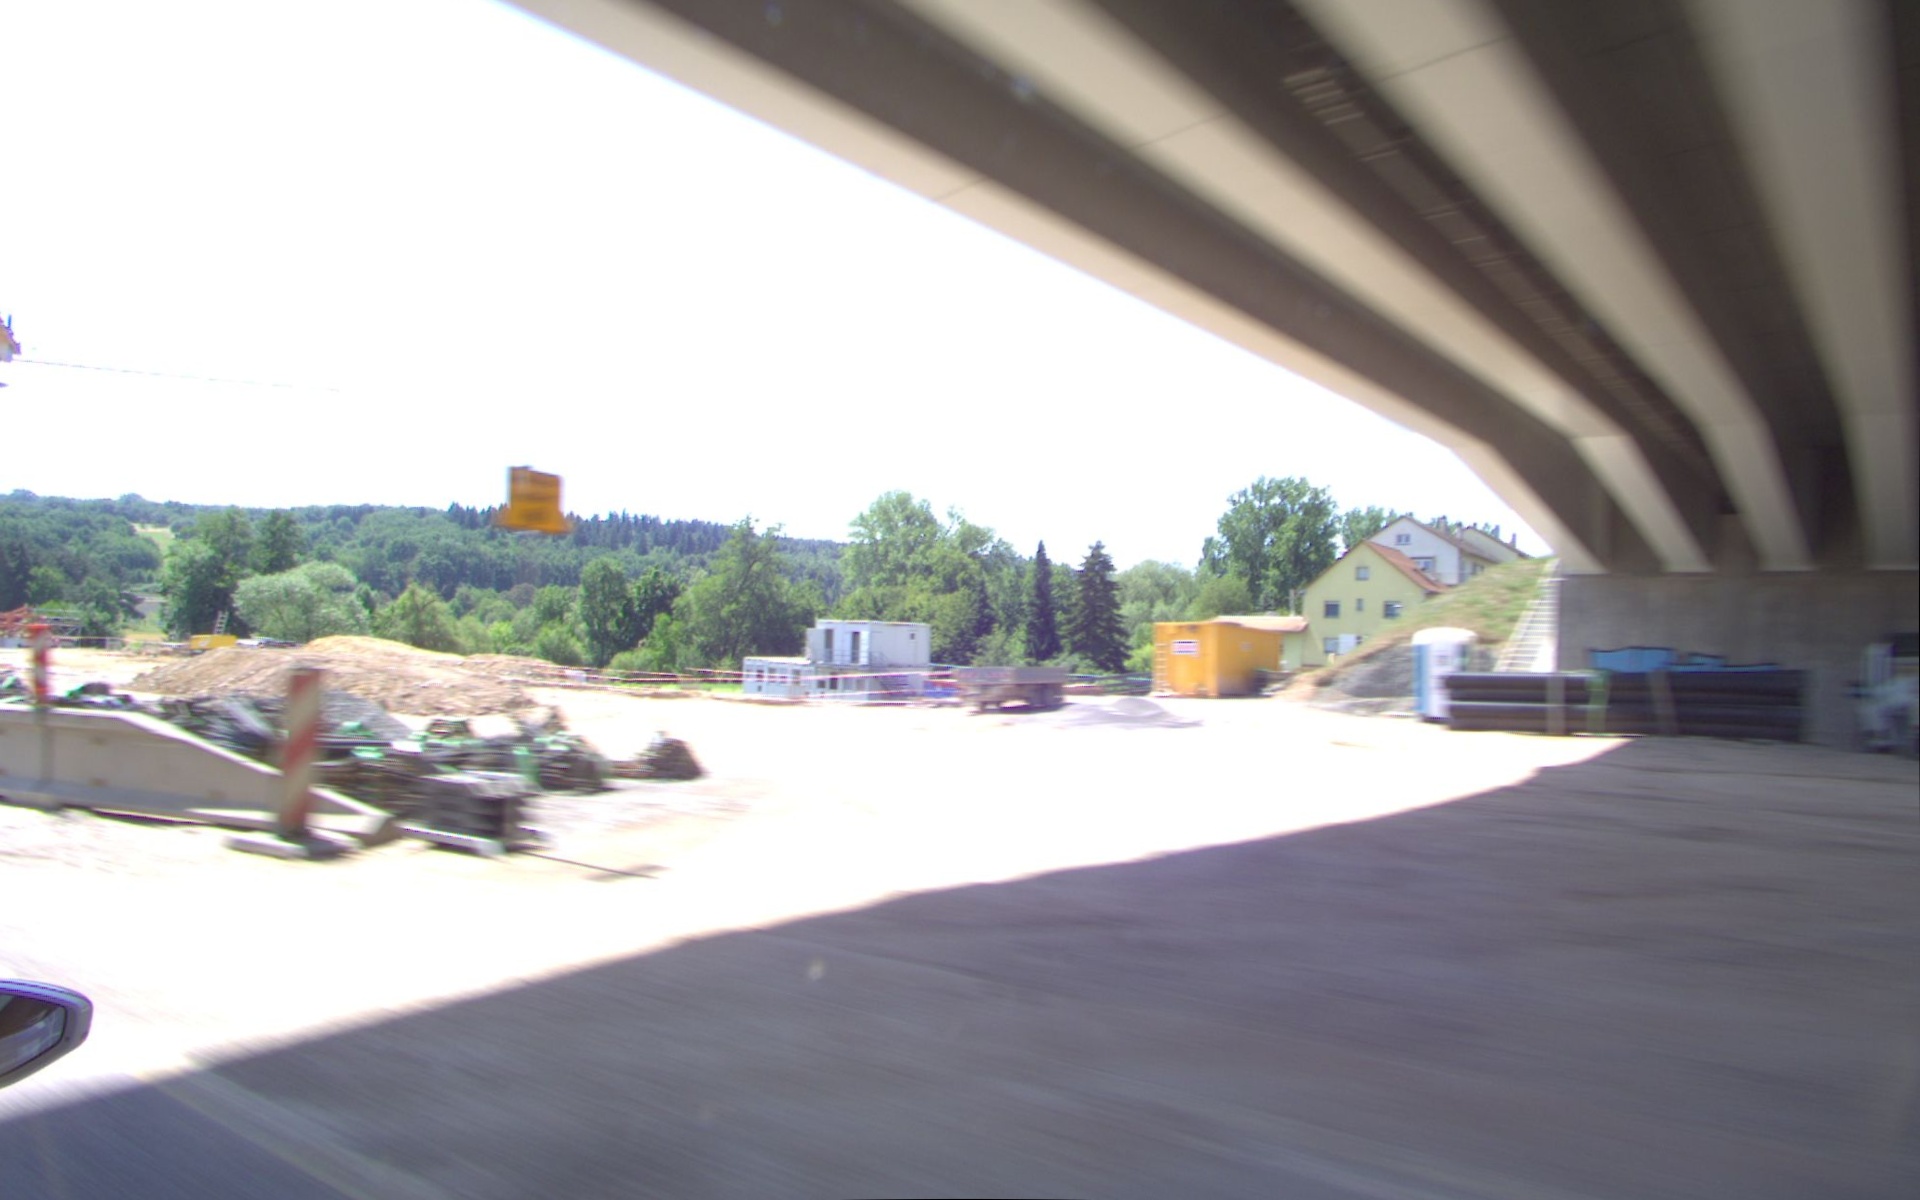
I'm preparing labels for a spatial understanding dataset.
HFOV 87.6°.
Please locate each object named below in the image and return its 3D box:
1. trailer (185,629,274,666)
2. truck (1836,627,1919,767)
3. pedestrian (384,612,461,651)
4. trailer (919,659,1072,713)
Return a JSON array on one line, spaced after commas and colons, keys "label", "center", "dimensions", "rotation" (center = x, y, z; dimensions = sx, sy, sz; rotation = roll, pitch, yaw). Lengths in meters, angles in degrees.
[{"label": "trailer", "center": [-31.781, 2.065, 43.555], "dimensions": [3.767, 1.504, 1.623], "rotation": [0, -3, 29]}, {"label": "truck", "center": [17.123, 1.606, 17.018], "dimensions": [2.630, 2.099, 6.507], "rotation": [-1, -3, 35]}, {"label": "pedestrian", "center": [-29.293, 1.746, 54.539], "dimensions": [3.943, 2.039, 1.991], "rotation": [-3, -3, 31]}, {"label": "trailer", "center": [1.061, 2.235, 26.730], "dimensions": [2.027, 1.234, 4.706], "rotation": [-3, -3, 32]}]
